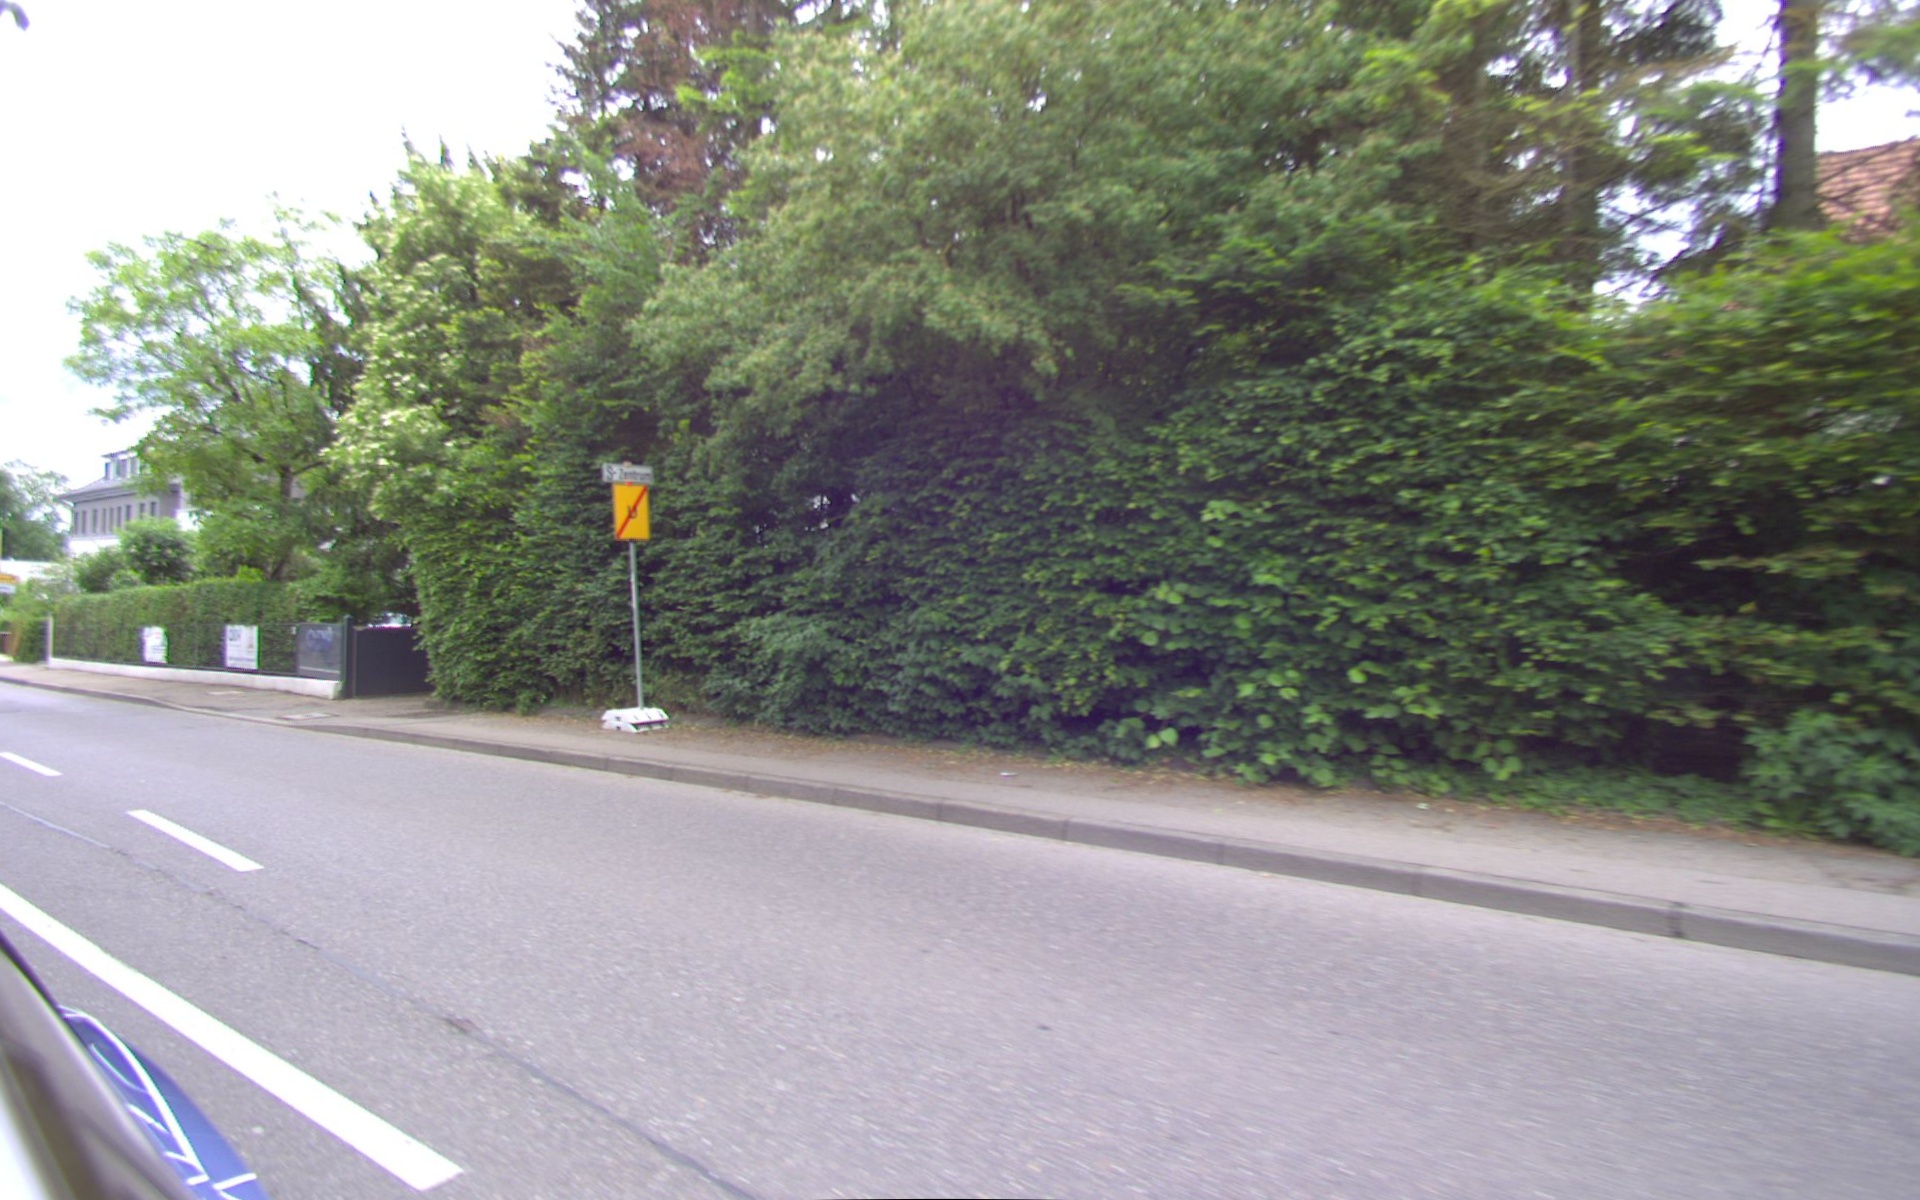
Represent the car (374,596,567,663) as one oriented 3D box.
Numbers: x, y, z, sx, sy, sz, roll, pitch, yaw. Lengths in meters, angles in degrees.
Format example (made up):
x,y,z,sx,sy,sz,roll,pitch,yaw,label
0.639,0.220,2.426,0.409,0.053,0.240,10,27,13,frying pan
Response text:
x,y,z,sx,sy,sz,roll,pitch,yaw,label
-12.396,0.741,25.834,1.997,1.564,3.949,0,-1,38,car
